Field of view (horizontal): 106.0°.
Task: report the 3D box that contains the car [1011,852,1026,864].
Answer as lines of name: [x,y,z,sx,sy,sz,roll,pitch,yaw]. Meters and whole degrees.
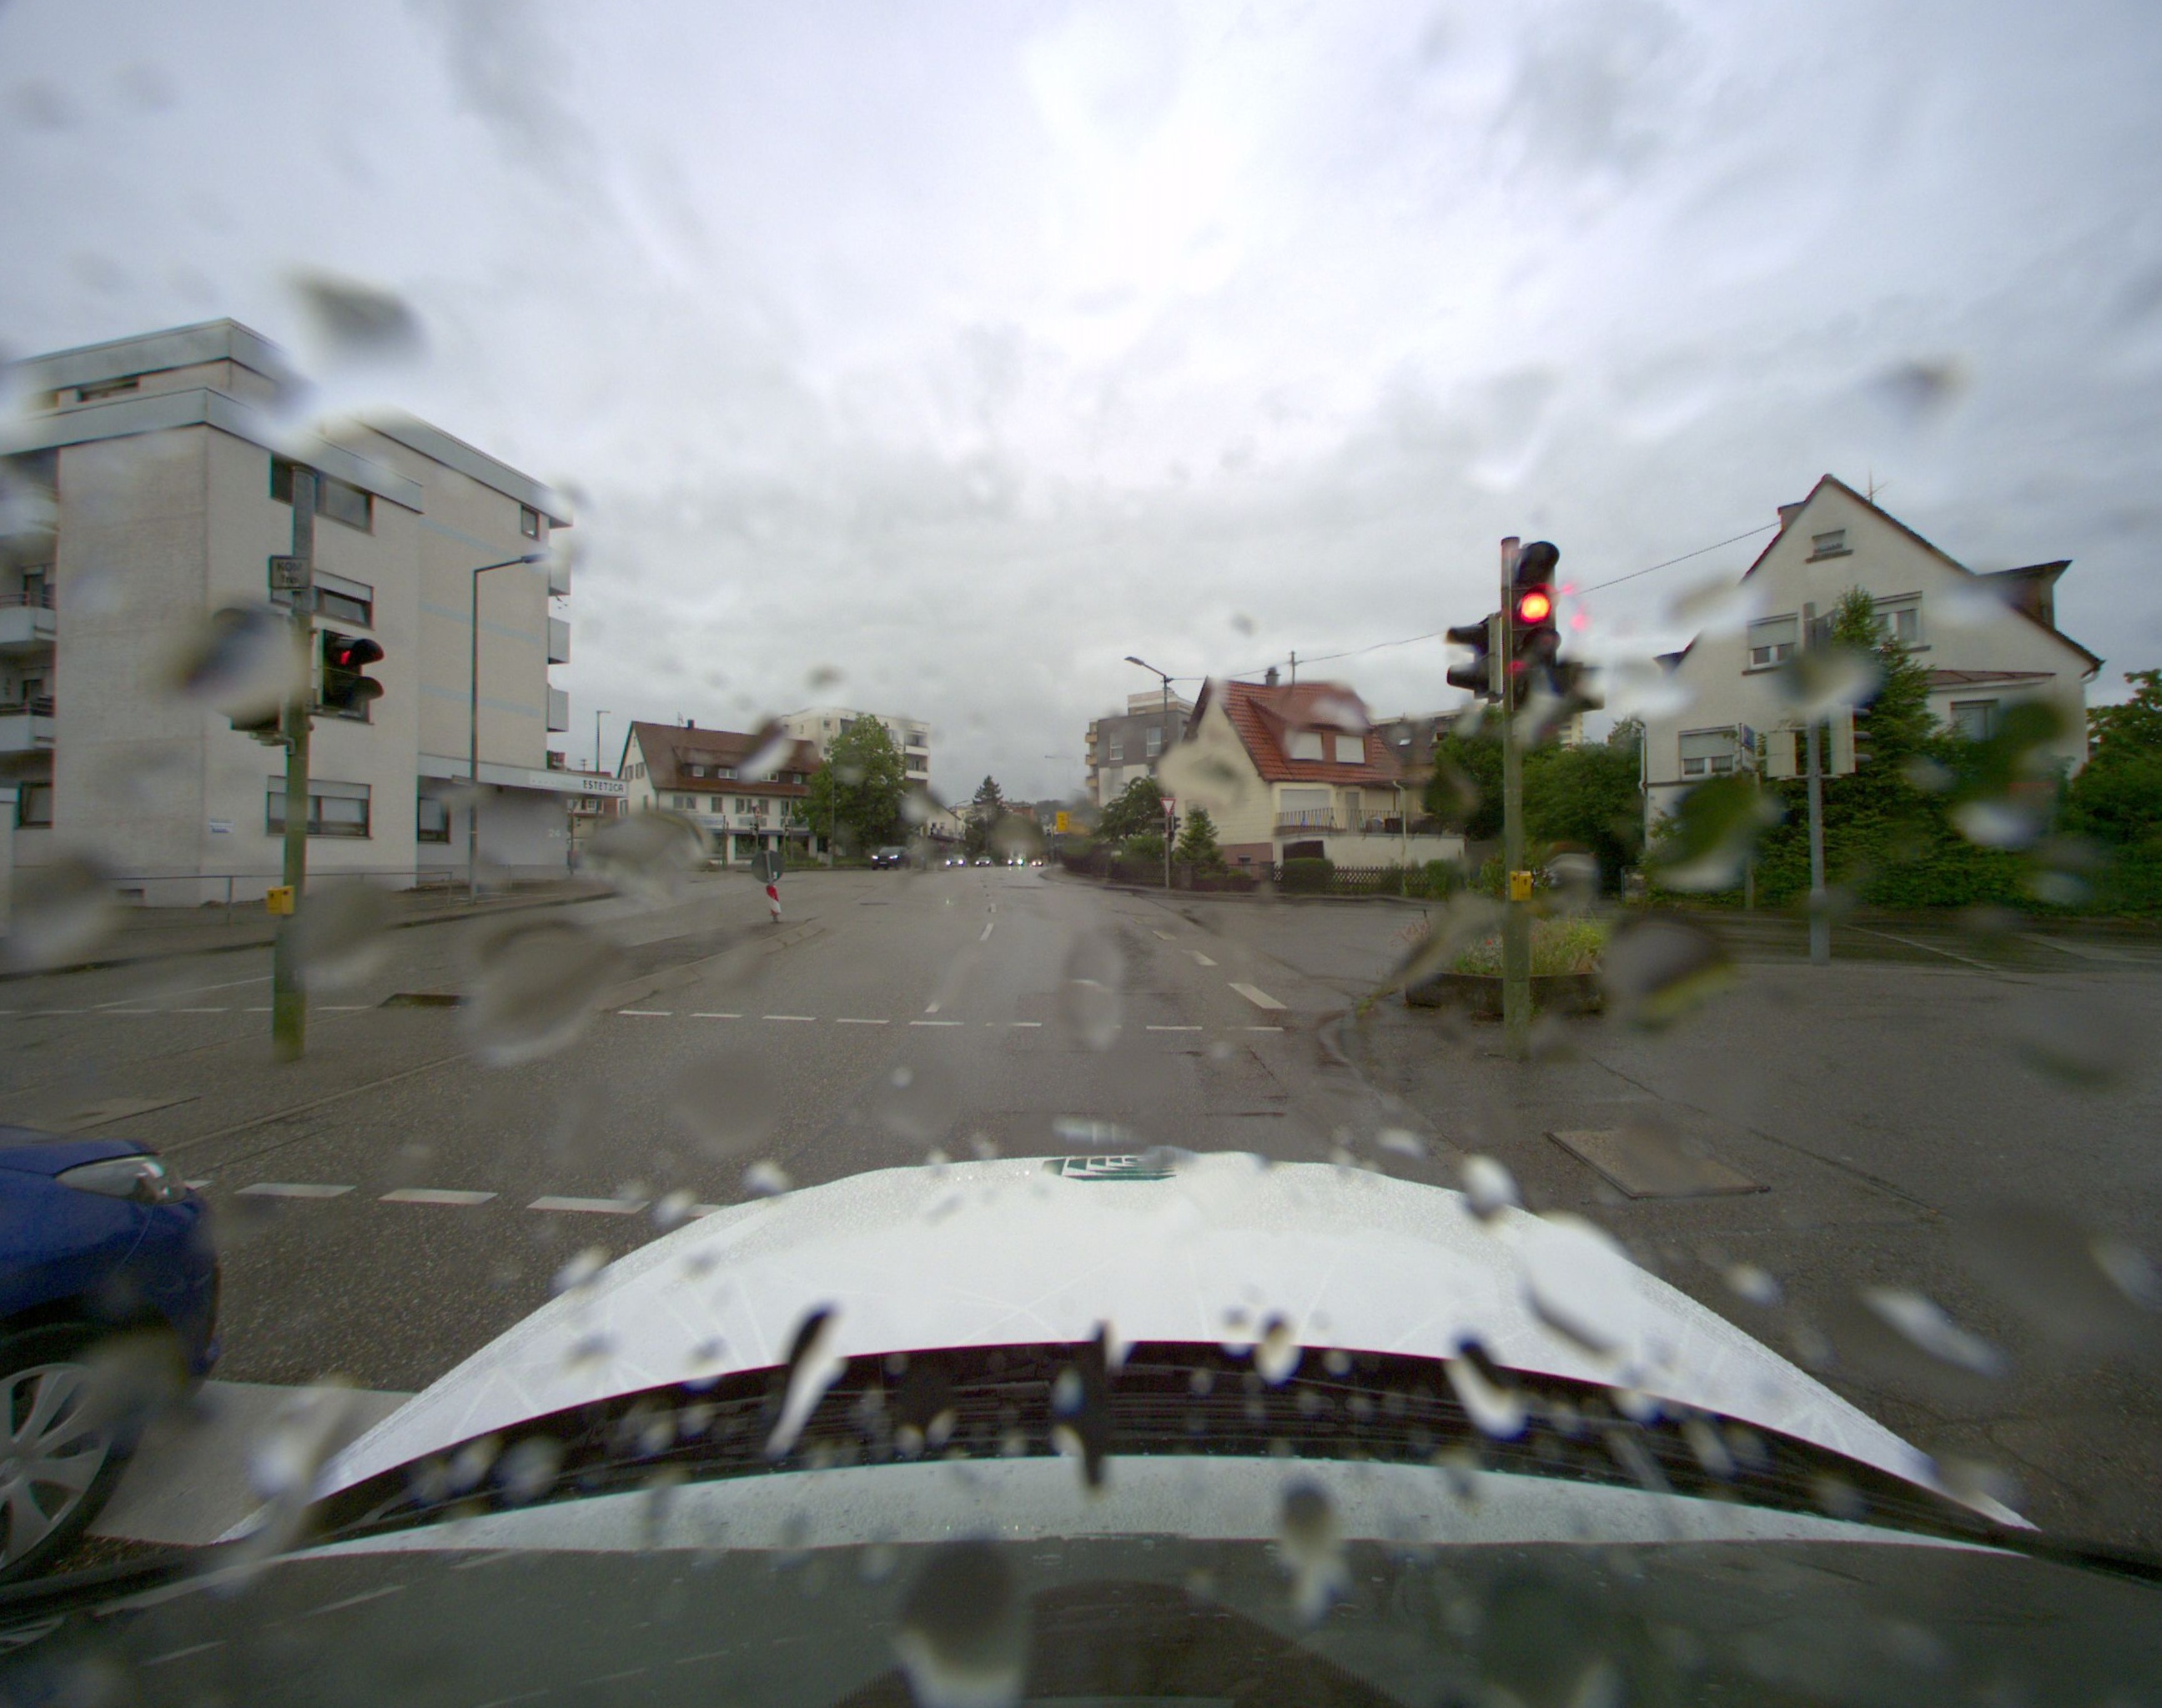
car: [-9.034,0.588,118.066,1.989,1.679,3.996,0,-1,-3]

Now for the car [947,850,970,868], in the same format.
car: [-13.121,0.566,87.563,1.989,1.904,3.996,0,-1,-3]

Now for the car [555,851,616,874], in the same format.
car: [-41.228,0.664,67.810,4.093,1.843,1.864,0,-1,-44]

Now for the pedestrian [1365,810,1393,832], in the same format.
pedestrian: [12.762,-1.427,34.869,0.918,0.883,0.632,0,-3,-18]

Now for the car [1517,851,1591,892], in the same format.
car: [17.103,0.605,29.384,1.794,1.362,4.025,-1,-1,37]

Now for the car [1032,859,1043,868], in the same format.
car: [-8.356,1.813,155.940,1.989,1.812,3.996,0,-1,-3]

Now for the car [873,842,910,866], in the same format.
car: [-14.378,-0.006,62.101,1.990,1.737,5.173,0,0,-4]

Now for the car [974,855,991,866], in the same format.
car: [-13.113,0.875,108.710,1.989,1.463,3.996,0,-1,-3]

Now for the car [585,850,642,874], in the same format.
car: [-38.454,0.625,66.987,3.706,1.920,1.864,0,-1,-44]

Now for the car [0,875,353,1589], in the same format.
car: [-2.958,0.781,0.737,1.499,1.413,3.365,0,0,2]
